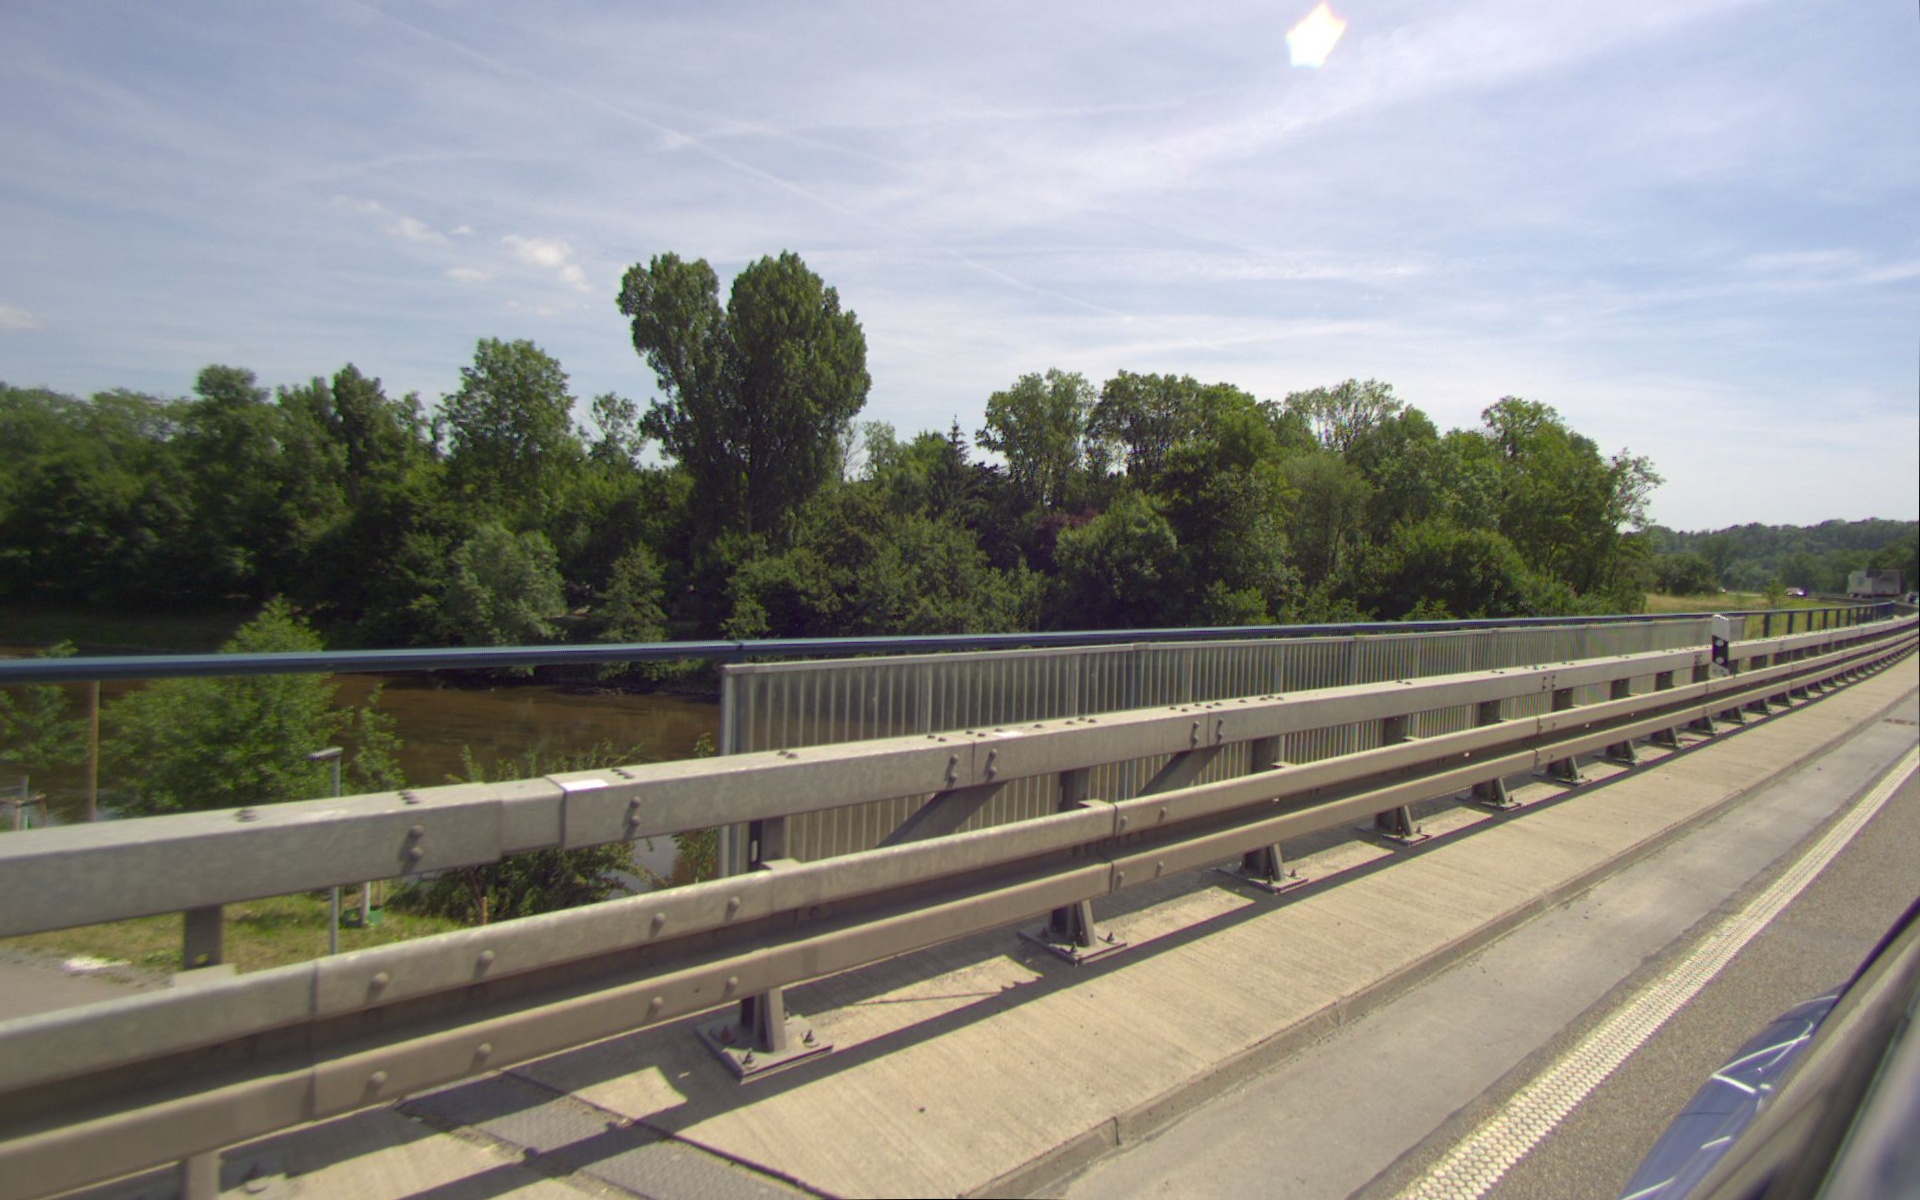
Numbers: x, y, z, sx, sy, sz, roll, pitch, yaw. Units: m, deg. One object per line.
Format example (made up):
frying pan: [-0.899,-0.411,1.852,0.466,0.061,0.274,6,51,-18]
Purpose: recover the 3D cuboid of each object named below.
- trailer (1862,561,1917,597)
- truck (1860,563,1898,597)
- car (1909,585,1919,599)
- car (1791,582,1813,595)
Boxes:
trailer: [114.677,-2.438,125.027,2.843,4.241,14.320,0,0,34]
truck: [118.356,-2.524,130.400,2.837,4.213,6.251,0,0,35]
car: [102.493,-0.853,107.393,1.653,1.476,3.853,2,1,30]
car: [126.452,-1.754,152.033,1.966,1.754,3.954,2,-1,31]
